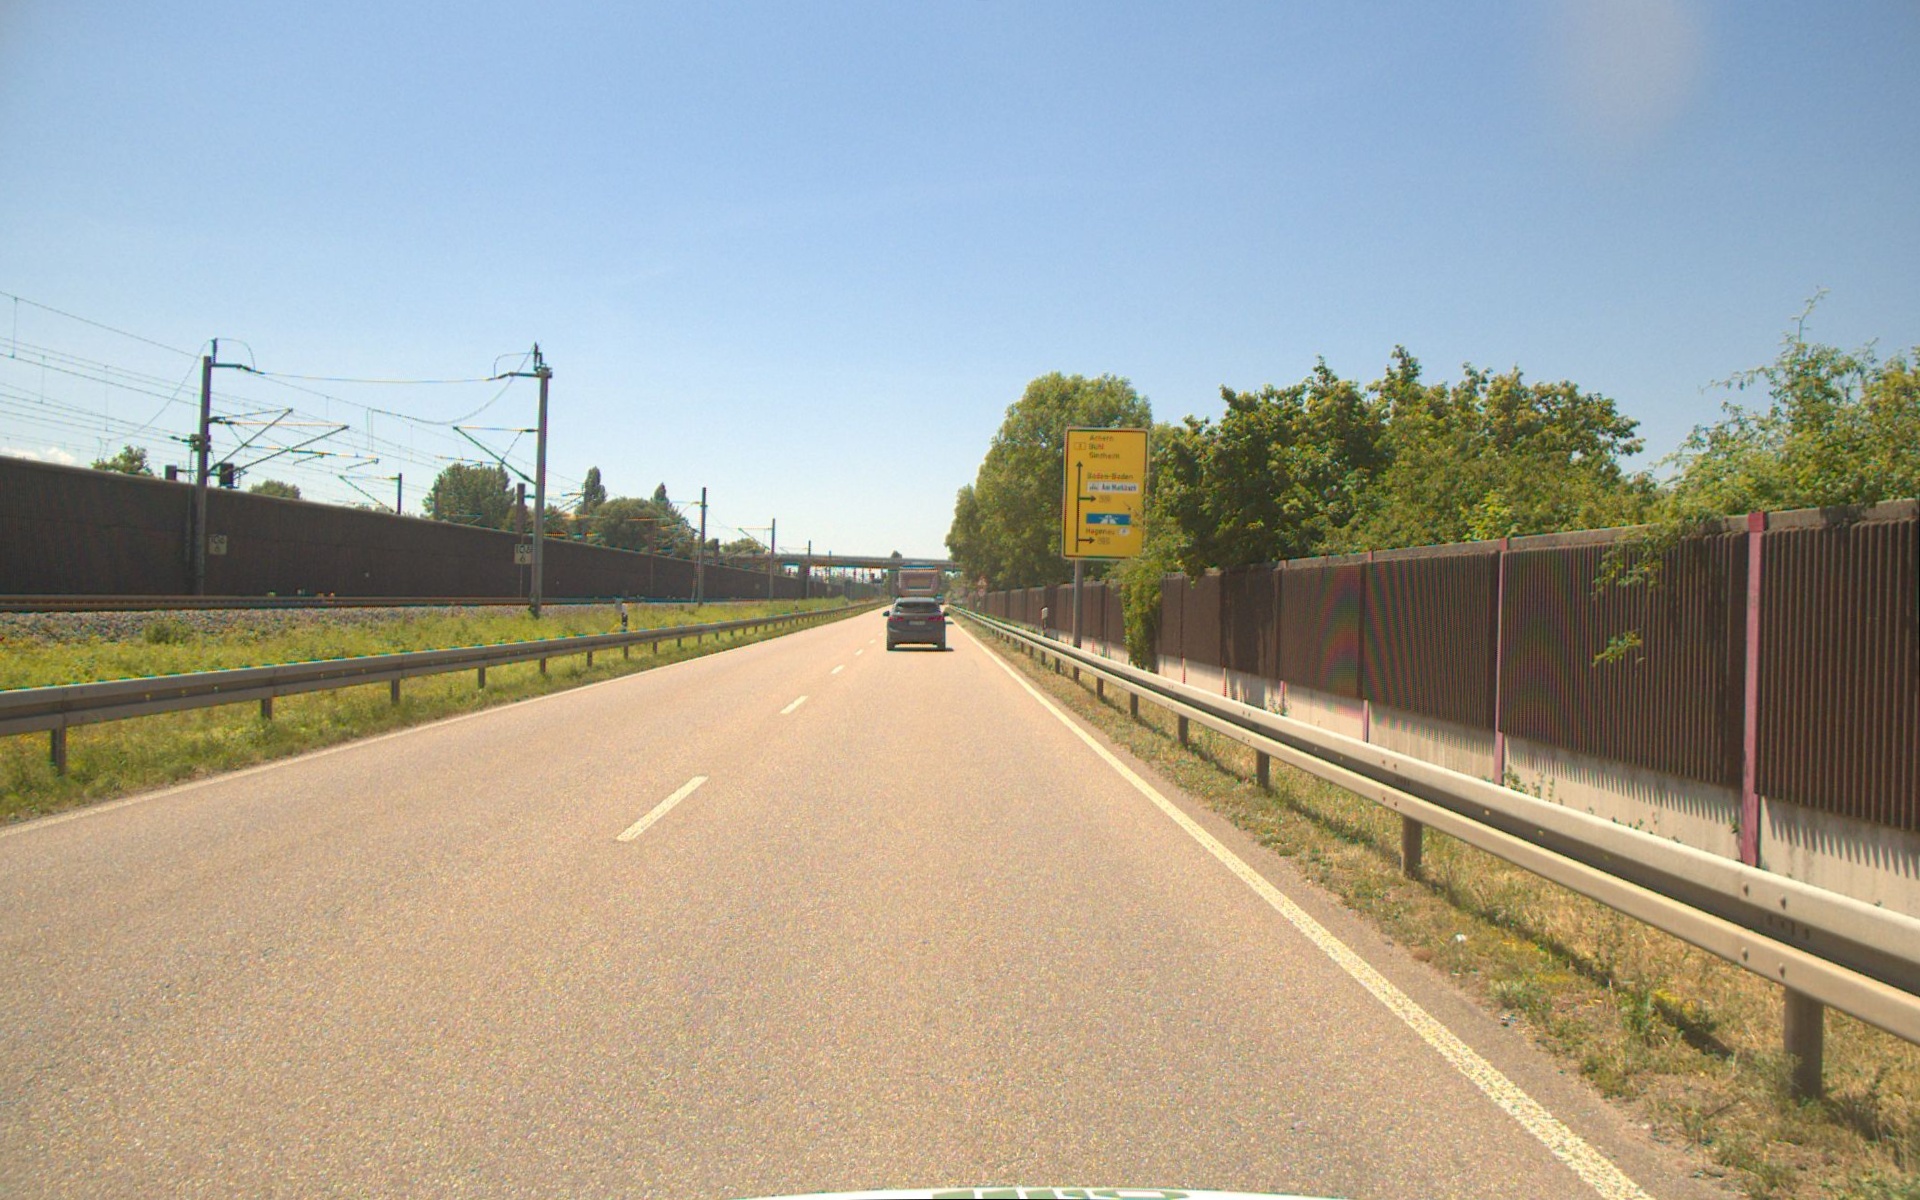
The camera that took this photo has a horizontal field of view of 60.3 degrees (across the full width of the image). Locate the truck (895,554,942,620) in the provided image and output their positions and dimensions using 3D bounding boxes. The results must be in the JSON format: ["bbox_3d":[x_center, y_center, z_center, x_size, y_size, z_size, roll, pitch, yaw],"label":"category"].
[{"bbox_3d":[-2.628,-0.733,103.803,2.776,3.888,11.880,1,0,-2],"label":"truck"}]

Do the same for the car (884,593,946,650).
[{"bbox_3d":[-1.418,0.644,50.618,1.808,1.651,4.223,1,0,-2],"label":"car"}]
